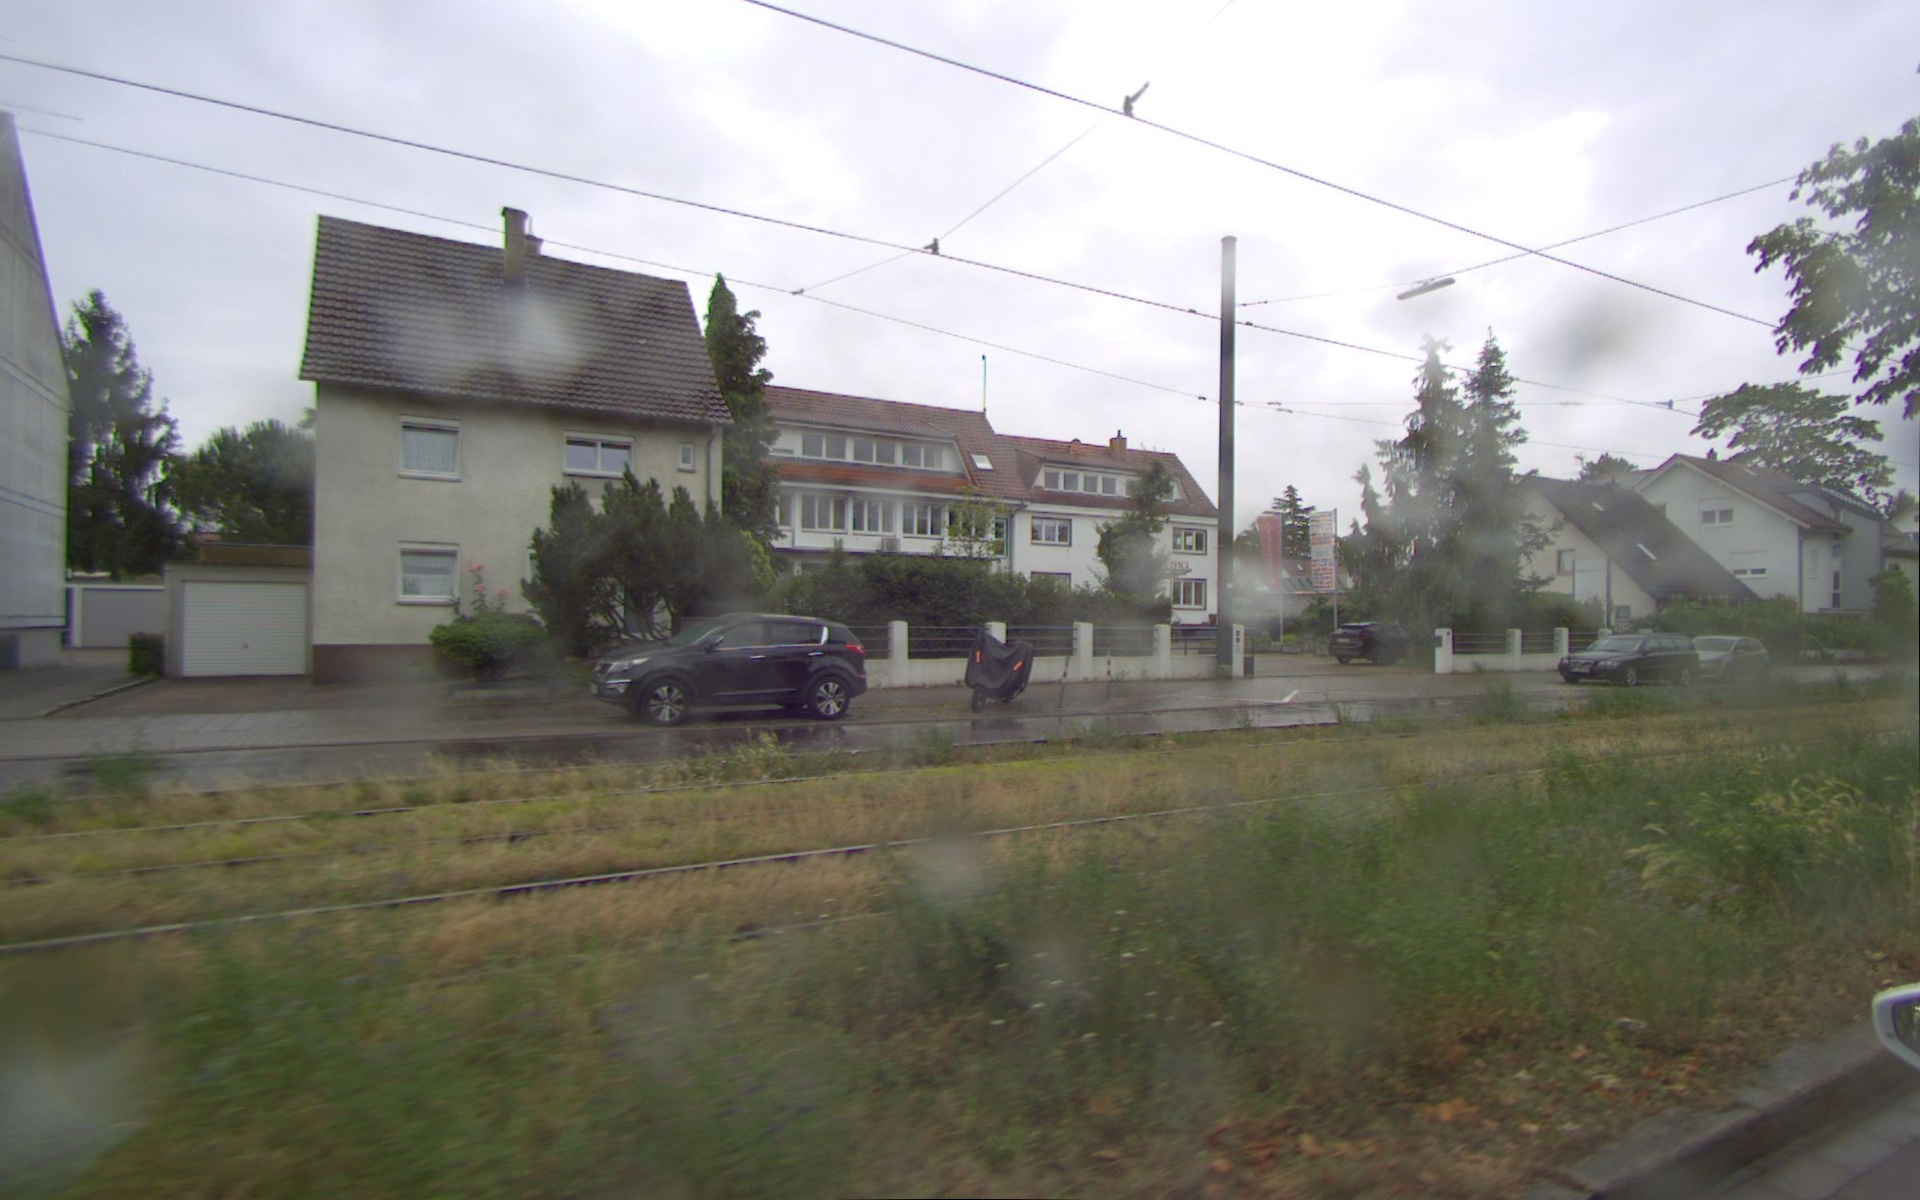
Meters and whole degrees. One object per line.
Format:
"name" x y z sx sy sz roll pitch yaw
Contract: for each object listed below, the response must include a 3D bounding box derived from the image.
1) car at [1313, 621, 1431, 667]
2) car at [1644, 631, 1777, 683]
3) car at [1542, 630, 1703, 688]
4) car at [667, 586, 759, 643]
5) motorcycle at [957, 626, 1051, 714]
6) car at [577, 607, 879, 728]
"car" 14.873 1.543 36.236 3.871 1.475 1.984 1 1 -30
"car" 23.849 1.763 31.901 3.924 1.430 1.984 1 1 -30
"car" 19.172 1.649 29.040 4.474 1.475 1.985 1 1 -28
"car" -7.490 0.389 30.204 1.684 1.560 3.939 1 1 -30
"motorcycle" 0.880 1.233 18.686 1.241 1.429 2.689 2 0 13
"car" -3.694 1.006 16.191 4.338 1.697 1.983 1 -1 -32
